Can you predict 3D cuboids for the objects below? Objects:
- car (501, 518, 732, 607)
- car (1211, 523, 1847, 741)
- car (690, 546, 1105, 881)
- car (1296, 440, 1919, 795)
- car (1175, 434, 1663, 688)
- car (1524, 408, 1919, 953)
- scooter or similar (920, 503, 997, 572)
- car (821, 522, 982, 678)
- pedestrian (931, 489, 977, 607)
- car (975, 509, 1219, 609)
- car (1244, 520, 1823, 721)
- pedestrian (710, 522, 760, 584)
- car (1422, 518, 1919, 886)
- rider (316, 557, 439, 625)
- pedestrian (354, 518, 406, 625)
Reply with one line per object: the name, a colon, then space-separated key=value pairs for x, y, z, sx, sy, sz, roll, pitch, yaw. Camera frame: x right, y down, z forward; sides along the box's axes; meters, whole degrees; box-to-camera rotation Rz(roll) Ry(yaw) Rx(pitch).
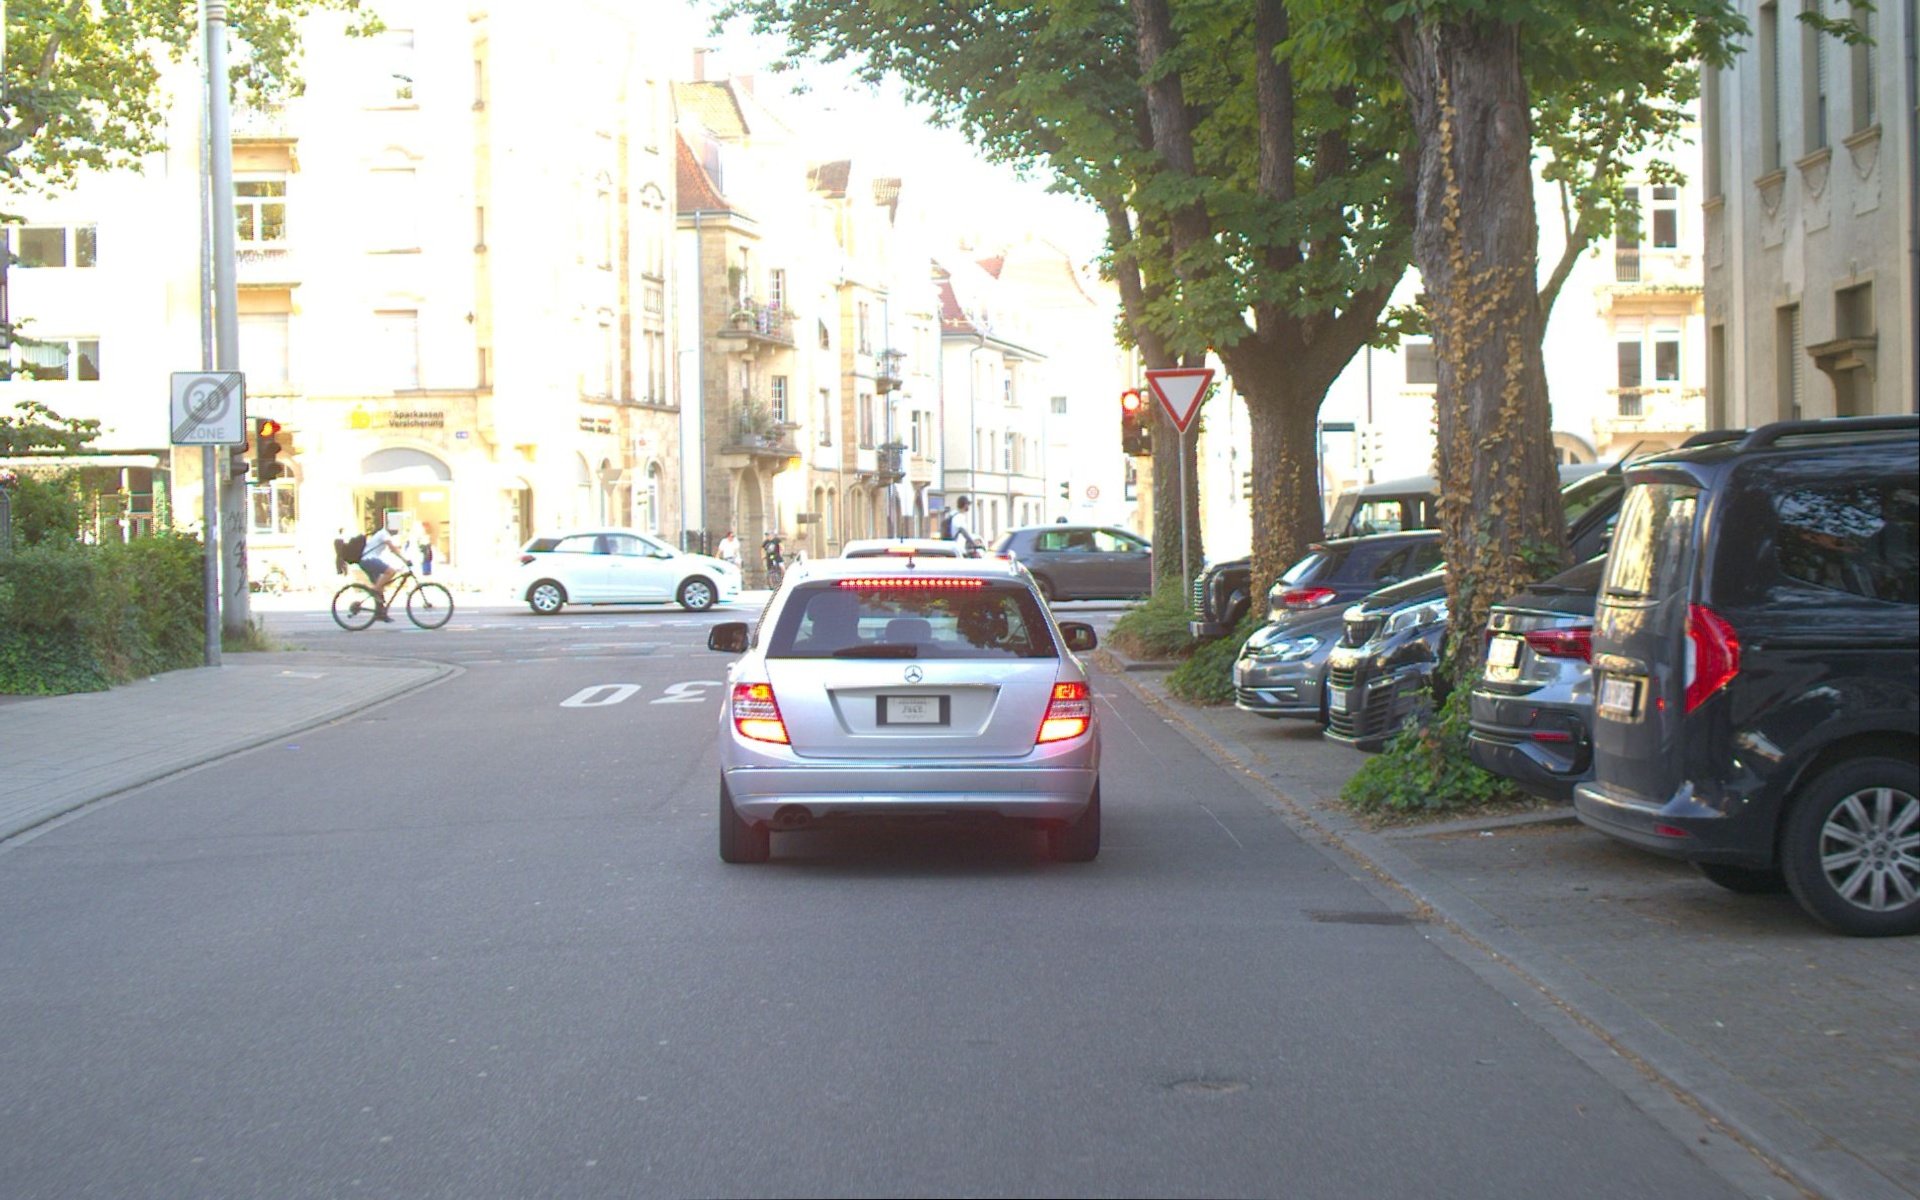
car: x=-5.971 y=-0.663 z=59.570 sx=3.887 sy=1.510 sz=1.708 roll=0 pitch=1 yaw=-8
car: x=4.109 y=0.202 z=25.300 sx=4.287 sy=1.412 sz=1.877 roll=-2 pitch=1 yaw=-2
car: x=-0.265 y=0.470 z=16.804 sx=1.784 sy=1.432 sz=3.851 roll=1 pitch=1 yaw=0
car: x=4.650 y=0.064 z=20.370 sx=5.053 sy=1.982 sz=2.072 roll=0 pitch=1 yaw=-2
car: x=4.367 y=-0.395 z=33.208 sx=4.388 sy=2.356 sz=2.000 roll=0 pitch=1 yaw=-2
car: x=4.464 y=0.215 z=13.111 sx=4.219 sy=1.890 sz=1.906 roll=-2 pitch=1 yaw=-2
scooter or similar: x=-0.025 y=-0.999 z=54.928 sx=1.175 sy=1.048 sz=0.409 roll=-2 pitch=1 yaw=-4
car: x=-0.579 y=-0.043 z=36.682 sx=1.623 sy=1.564 sz=3.680 roll=0 pitch=1 yaw=0
pedestrian: x=-0.096 y=-0.837 z=54.925 sx=0.642 sy=1.859 sz=0.410 roll=-2 pitch=1 yaw=-4
car: x=2.285 y=-0.711 z=57.942 sx=3.887 sy=1.637 sz=1.754 roll=0 pitch=1 yaw=-6
car: x=4.537 y=0.138 z=27.619 sx=4.287 sy=1.535 sz=1.899 roll=0 pitch=1 yaw=-2
pedestrian: x=-6.318 y=-1.335 z=96.726 sx=1.221 sy=1.716 sz=1.503 roll=1 pitch=1 yaw=3
car: x=4.372 y=0.402 z=15.461 sx=4.287 sy=1.535 sz=1.877 roll=0 pitch=1 yaw=-2
rider: x=-9.048 y=-0.142 z=53.447 sx=1.873 sy=1.034 sz=0.511 roll=-1 pitch=1 yaw=-8
pedestrian: x=-9.016 y=-0.446 z=53.444 sx=0.769 sy=1.640 sz=0.505 roll=-1 pitch=1 yaw=-8
